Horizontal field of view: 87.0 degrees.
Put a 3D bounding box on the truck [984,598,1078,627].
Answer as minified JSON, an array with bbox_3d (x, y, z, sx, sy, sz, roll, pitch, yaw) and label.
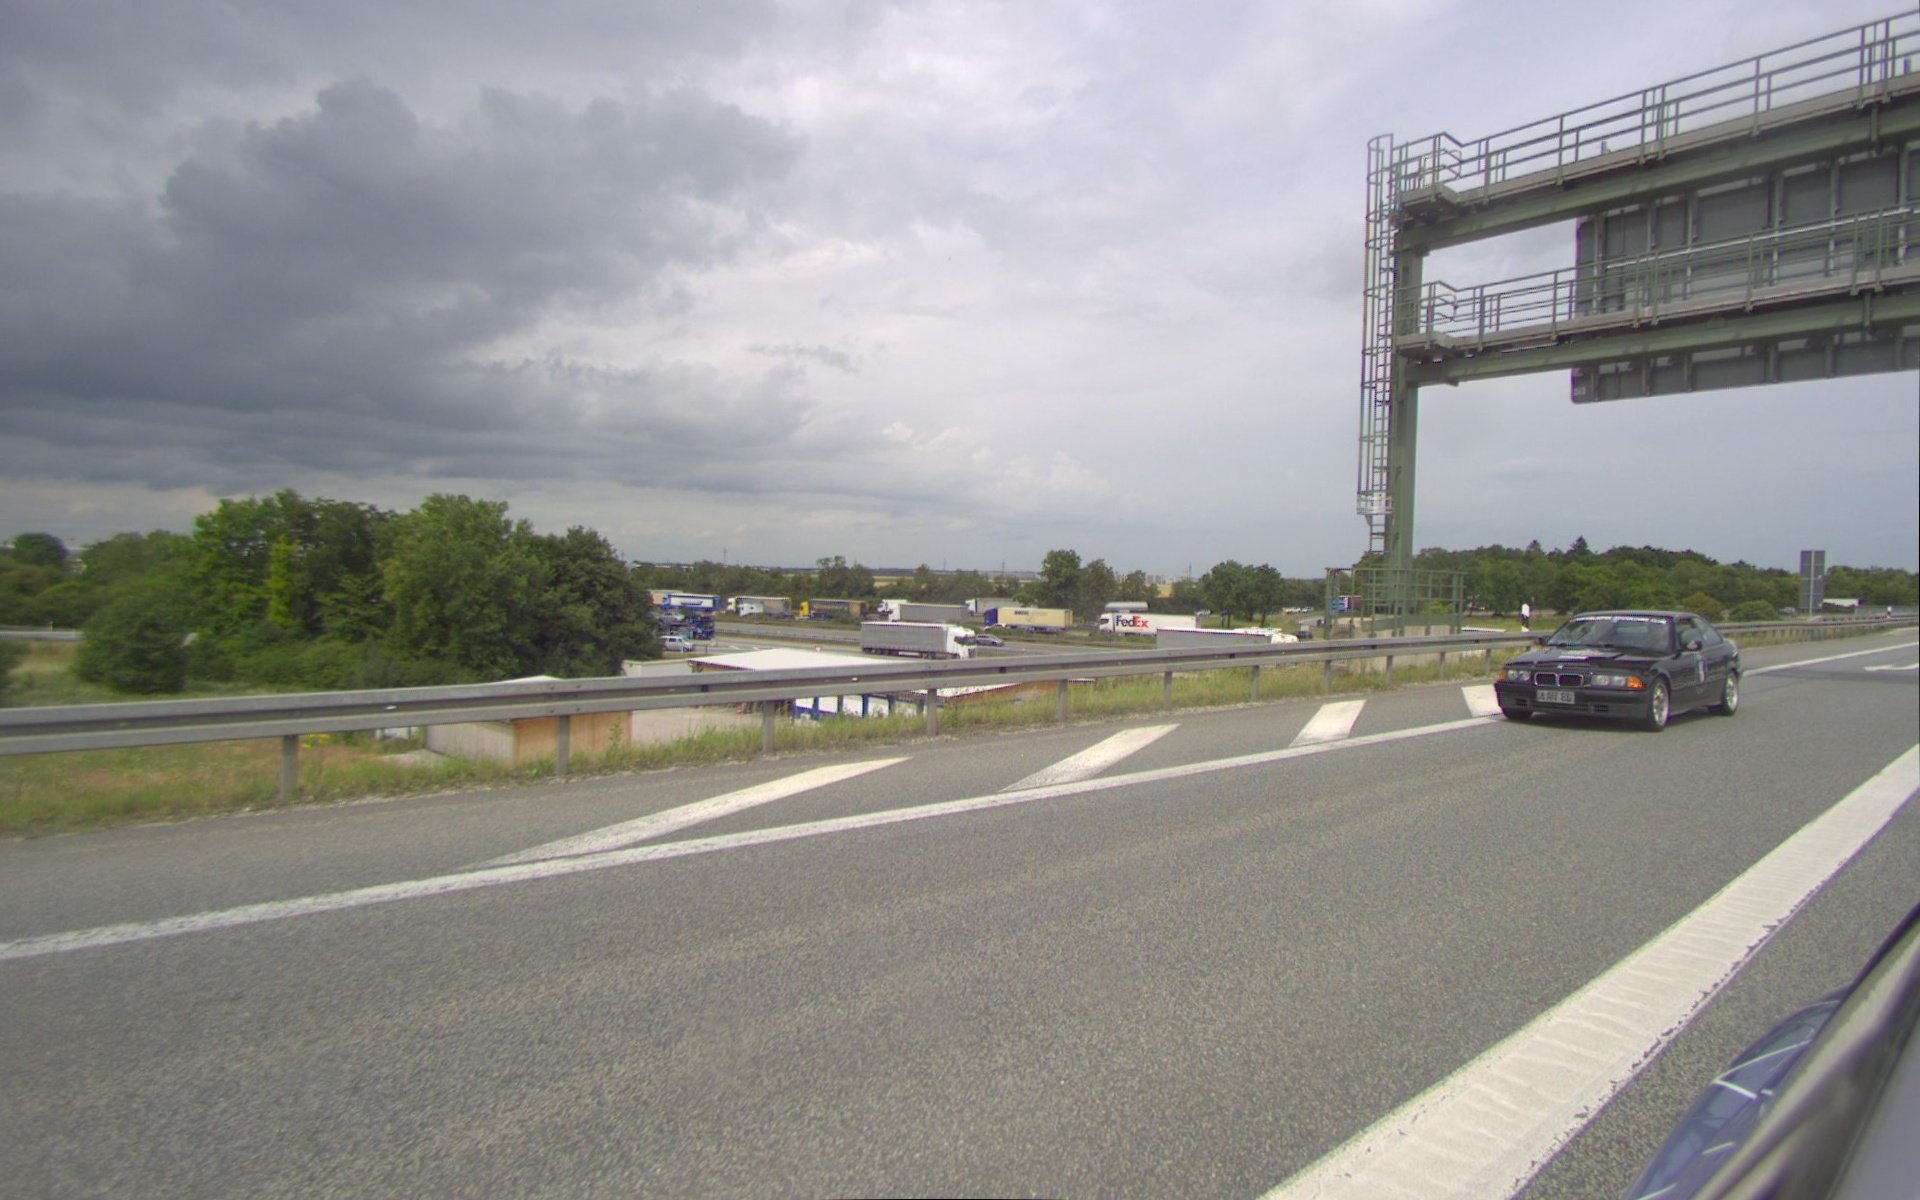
[{"bbox_3d":[11.888,2.054,171.601,16.267,4.612,3.956,1,0,37],"label":"truck"}]

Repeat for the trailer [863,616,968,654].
[{"bbox_3d":[-5.571,4.178,124.100,14.161,4.151,2.951,1,0,36],"label":"trailer"}]

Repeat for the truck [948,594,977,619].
[{"bbox_3d":[0.592,1.376,220.335,6.324,5.381,3.857,0,0,2],"label":"truck"}]

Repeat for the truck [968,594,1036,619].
[{"bbox_3d":[9.068,1.355,220.315,14.571,5.281,3.862,1,-1,-1],"label":"truck"}]

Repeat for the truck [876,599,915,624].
[{"bbox_3d":[-12.095,2.061,188.672,6.256,4.568,3.880,0,0,37],"label":"truck"}]

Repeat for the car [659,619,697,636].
[{"bbox_3d":[-38.350,3.729,137.777,4.625,2.039,2.000,3,-2,-2],"label":"car"}]

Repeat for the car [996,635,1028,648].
[{"bbox_3d":[7.067,5.685,138.003,3.974,1.622,1.853,-3,-3,36],"label":"car"}]

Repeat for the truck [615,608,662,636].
[{"bbox_3d":[-49.284,3.380,155.213,6.373,4.041,3.817,0,1,33],"label":"truck"}]

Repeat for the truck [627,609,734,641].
[{"bbox_3d":[-41.711,3.601,150.189,18.912,4.111,3.946,1,1,34],"label":"truck"}]

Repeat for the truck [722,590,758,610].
[{"bbox_3d":[-46.151,0.072,212.447,6.459,4.063,4.079,0,-1,36],"label":"truck"}]

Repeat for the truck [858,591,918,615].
[{"bbox_3d":[-15.865,0.722,223.941,12.781,5.105,3.943,1,-1,8],"label":"truck"}]

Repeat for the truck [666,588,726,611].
[{"bbox_3d":[-57.454,-0.072,219.986,14.388,4.882,4.036,1,0,34],"label":"truck"}]

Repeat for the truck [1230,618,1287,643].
[{"bbox_3d":[42.207,4.286,143.185,7.522,3.237,2.203,0,-1,37],"label":"truck"}]

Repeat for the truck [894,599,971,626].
[{"bbox_3d":[-5.022,2.137,183.326,14.799,4.612,3.954,1,0,37],"label":"truck"}]

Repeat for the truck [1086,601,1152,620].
[{"bbox_3d":[35.474,2.273,225.304,14.422,4.141,3.092,1,-1,-15],"label":"truck"}]

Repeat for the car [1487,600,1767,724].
[{"bbox_3d":[8.501,0.679,12.756,4.286,1.297,1.708,1,0,-39],"label":"car"}]

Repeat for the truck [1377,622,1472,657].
[{"bbox_3d":[58.979,4.970,128.713,10.705,4.123,3.202,1,0,33],"label":"truck"}]

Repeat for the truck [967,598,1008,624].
[{"bbox_3d":[4.817,1.894,176.876,6.255,4.568,3.881,0,0,36],"label":"truck"}]

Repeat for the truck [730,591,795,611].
[{"bbox_3d":[-40.768,0.180,208.463,14.803,4.083,4.089,1,0,36],"label":"truck"}]

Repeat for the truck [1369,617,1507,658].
[{"bbox_3d":[63.155,4.787,134.185,16.087,4.759,3.939,1,1,38],"label":"truck"}]

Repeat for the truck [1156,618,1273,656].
[{"bbox_3d":[29.121,4.142,116.377,13.050,3.725,2.467,2,0,34],"label":"truck"}]

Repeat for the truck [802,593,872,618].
[{"bbox_3d":[-24.024,1.051,196.814,15.222,4.612,3.953,1,0,38],"label":"truck"}]

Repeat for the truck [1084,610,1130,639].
[{"bbox_3d":[23.639,3.875,162.479,6.255,4.568,3.881,0,0,36],"label":"truck"}]

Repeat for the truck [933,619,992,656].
[{"bbox_3d":[0.264,4.357,119.765,6.489,4.151,2.951,1,0,36],"label":"truck"}]

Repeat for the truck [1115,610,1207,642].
[{"bbox_3d":[31.039,3.907,157.076,13.705,4.612,3.956,1,0,36],"label":"truck"}]

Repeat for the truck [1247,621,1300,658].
[{"bbox_3d":[34.818,4.346,112.449,5.131,3.725,2.467,2,0,34],"label":"truck"}]

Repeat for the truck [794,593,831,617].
[{"bbox_3d":[-29.350,0.990,201.016,6.463,4.555,4.016,0,0,38],"label":"truck"}]

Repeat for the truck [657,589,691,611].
[{"bbox_3d":[-63.407,-0.051,224.033,6.452,4.798,4.023,1,0,33],"label":"truck"}]
